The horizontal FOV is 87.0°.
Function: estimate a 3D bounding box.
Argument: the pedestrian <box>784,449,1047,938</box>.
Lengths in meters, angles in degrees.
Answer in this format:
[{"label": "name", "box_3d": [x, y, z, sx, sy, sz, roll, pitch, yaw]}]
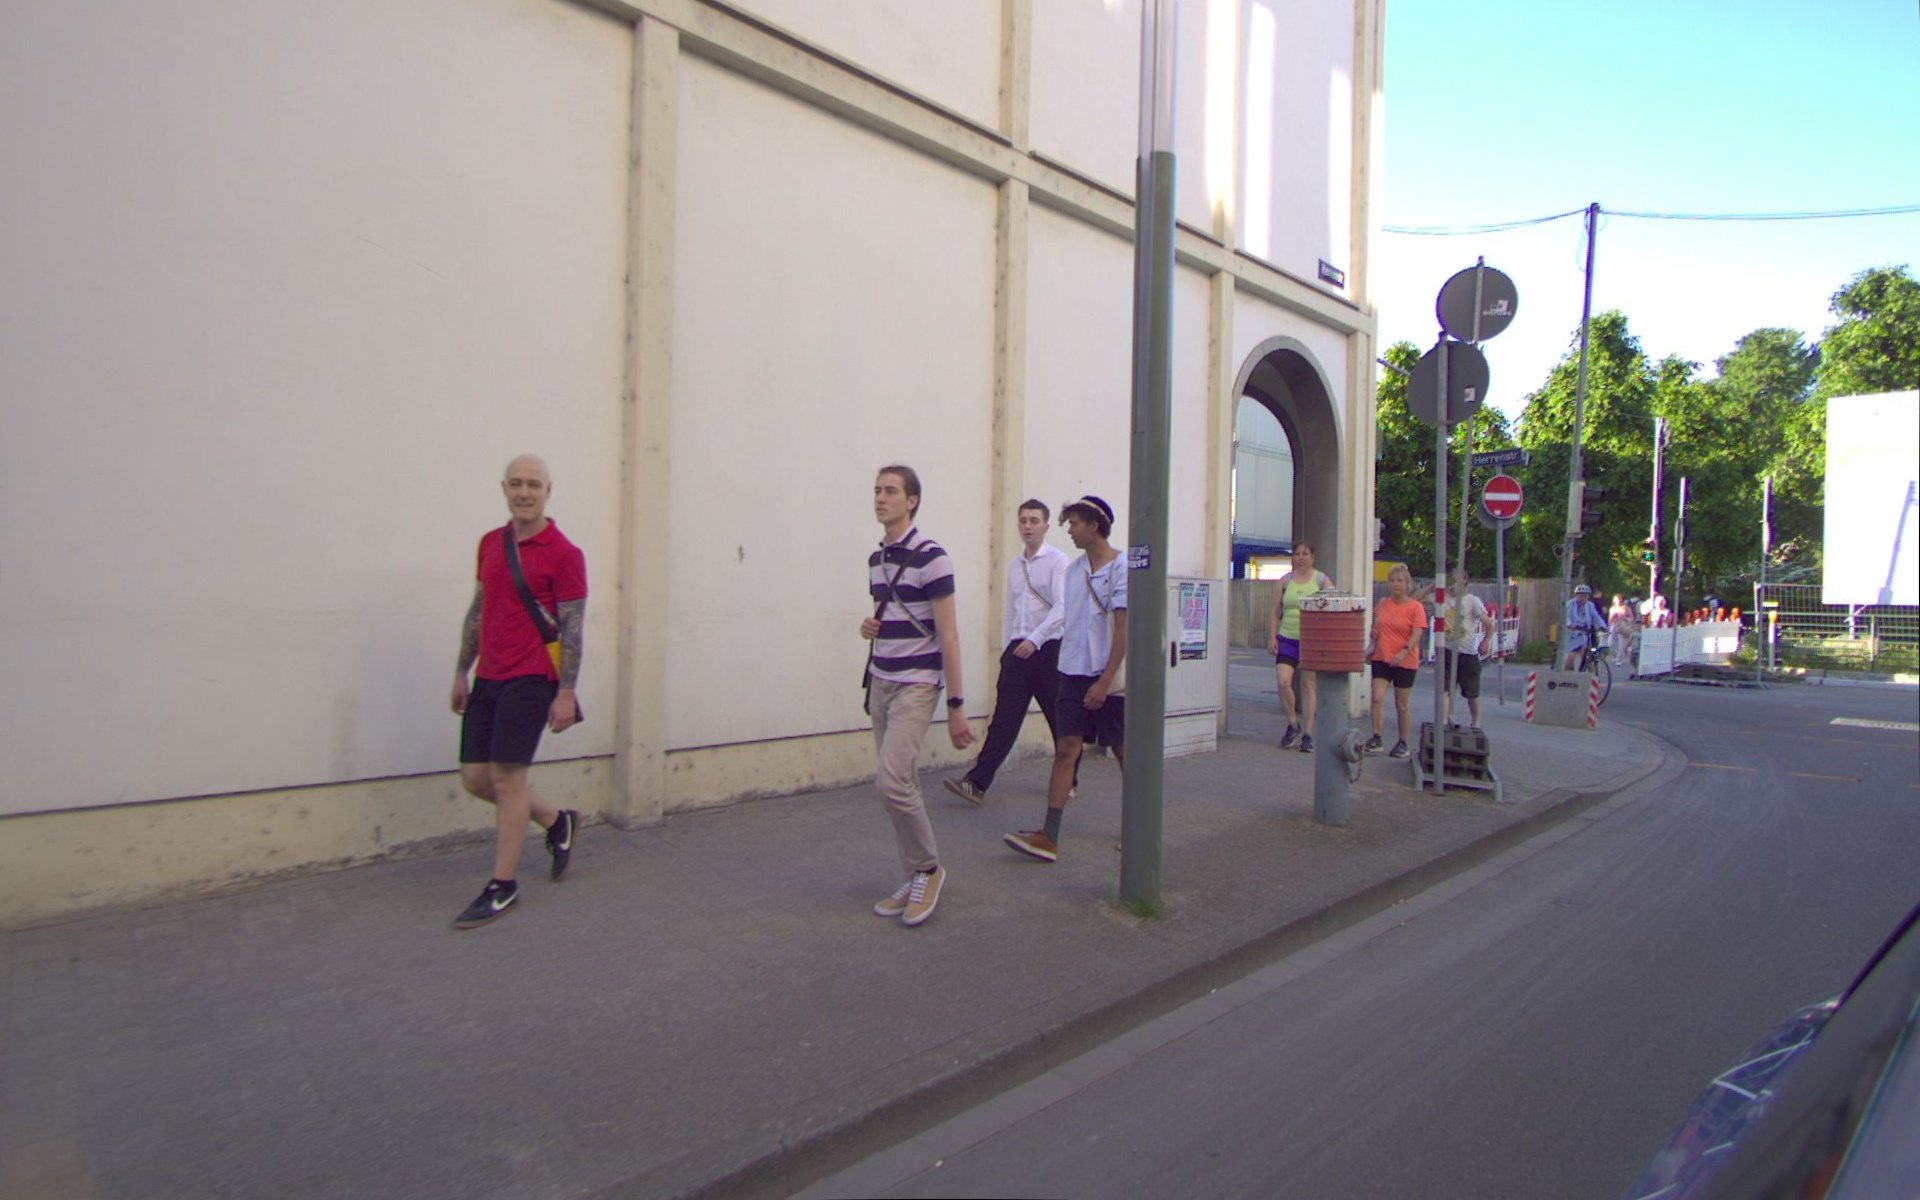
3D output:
[{"label": "pedestrian", "box_3d": [-0.197, 0.318, 4.162, 0.681, 1.799, 0.685, 1, 5, -41]}]

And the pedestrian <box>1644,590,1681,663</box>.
[{"label": "pedestrian", "box_3d": [16.032, 0.585, 23.096, 0.624, 1.634, 0.614, 0, 0, 41]}]

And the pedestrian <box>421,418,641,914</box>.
[{"label": "pedestrian", "box_3d": [-1.751, 0.222, 4.102, 0.583, 1.800, 0.684, 1, 3, -41]}]

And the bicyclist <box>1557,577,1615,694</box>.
[{"label": "bicyclist", "box_3d": [9.372, 0.515, 15.160, 0.577, 1.710, 0.536, 0, 0, 13]}]

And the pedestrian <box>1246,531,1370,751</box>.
[{"label": "pedestrian", "box_3d": [2.911, 0.312, 8.474, 0.681, 1.737, 0.684, 1, 1, -41]}]

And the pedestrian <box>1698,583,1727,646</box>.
[{"label": "pedestrian", "box_3d": [21.681, 0.411, 29.146, 0.624, 1.806, 0.614, 0, 0, 41]}]

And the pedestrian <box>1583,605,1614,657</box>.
[{"label": "pedestrian", "box_3d": [15.264, 0.729, 24.180, 0.533, 1.191, 0.614, 0, 0, 41]}]

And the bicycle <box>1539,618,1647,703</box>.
[{"label": "bicycle", "box_3d": [9.359, 0.851, 15.064, 0.586, 1.097, 2.303, 0, 0, 12]}]

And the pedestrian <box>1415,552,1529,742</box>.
[{"label": "pedestrian", "box_3d": [4.947, 0.433, 9.780, 0.681, 1.737, 0.684, 3, 1, -41]}]

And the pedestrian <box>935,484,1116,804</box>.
[{"label": "pedestrian", "box_3d": [0.393, 0.229, 6.183, 0.681, 1.799, 0.685, 1, 5, -41]}]

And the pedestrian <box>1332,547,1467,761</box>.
[{"label": "pedestrian", "box_3d": [3.663, 0.421, 8.449, 0.681, 1.656, 0.685, 1, 4, -41]}]

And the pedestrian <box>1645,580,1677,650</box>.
[{"label": "pedestrian", "box_3d": [18.314, 0.384, 26.437, 0.624, 1.806, 0.614, 0, 0, 41]}]

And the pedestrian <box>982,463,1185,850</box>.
[{"label": "pedestrian", "box_3d": [0.627, 0.250, 5.181, 0.681, 1.800, 0.684, 1, 2, -41]}]

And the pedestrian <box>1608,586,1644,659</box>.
[{"label": "pedestrian", "box_3d": [15.464, 0.498, 23.504, 0.624, 1.662, 0.614, 0, 0, 41]}]

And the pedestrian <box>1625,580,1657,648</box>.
[{"label": "pedestrian", "box_3d": [18.383, 0.375, 27.318, 0.624, 1.806, 0.614, 0, 0, 41]}]

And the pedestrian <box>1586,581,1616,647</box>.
[{"label": "pedestrian", "box_3d": [17.664, 0.373, 27.891, 0.624, 1.806, 0.614, 0, 0, 41]}]
